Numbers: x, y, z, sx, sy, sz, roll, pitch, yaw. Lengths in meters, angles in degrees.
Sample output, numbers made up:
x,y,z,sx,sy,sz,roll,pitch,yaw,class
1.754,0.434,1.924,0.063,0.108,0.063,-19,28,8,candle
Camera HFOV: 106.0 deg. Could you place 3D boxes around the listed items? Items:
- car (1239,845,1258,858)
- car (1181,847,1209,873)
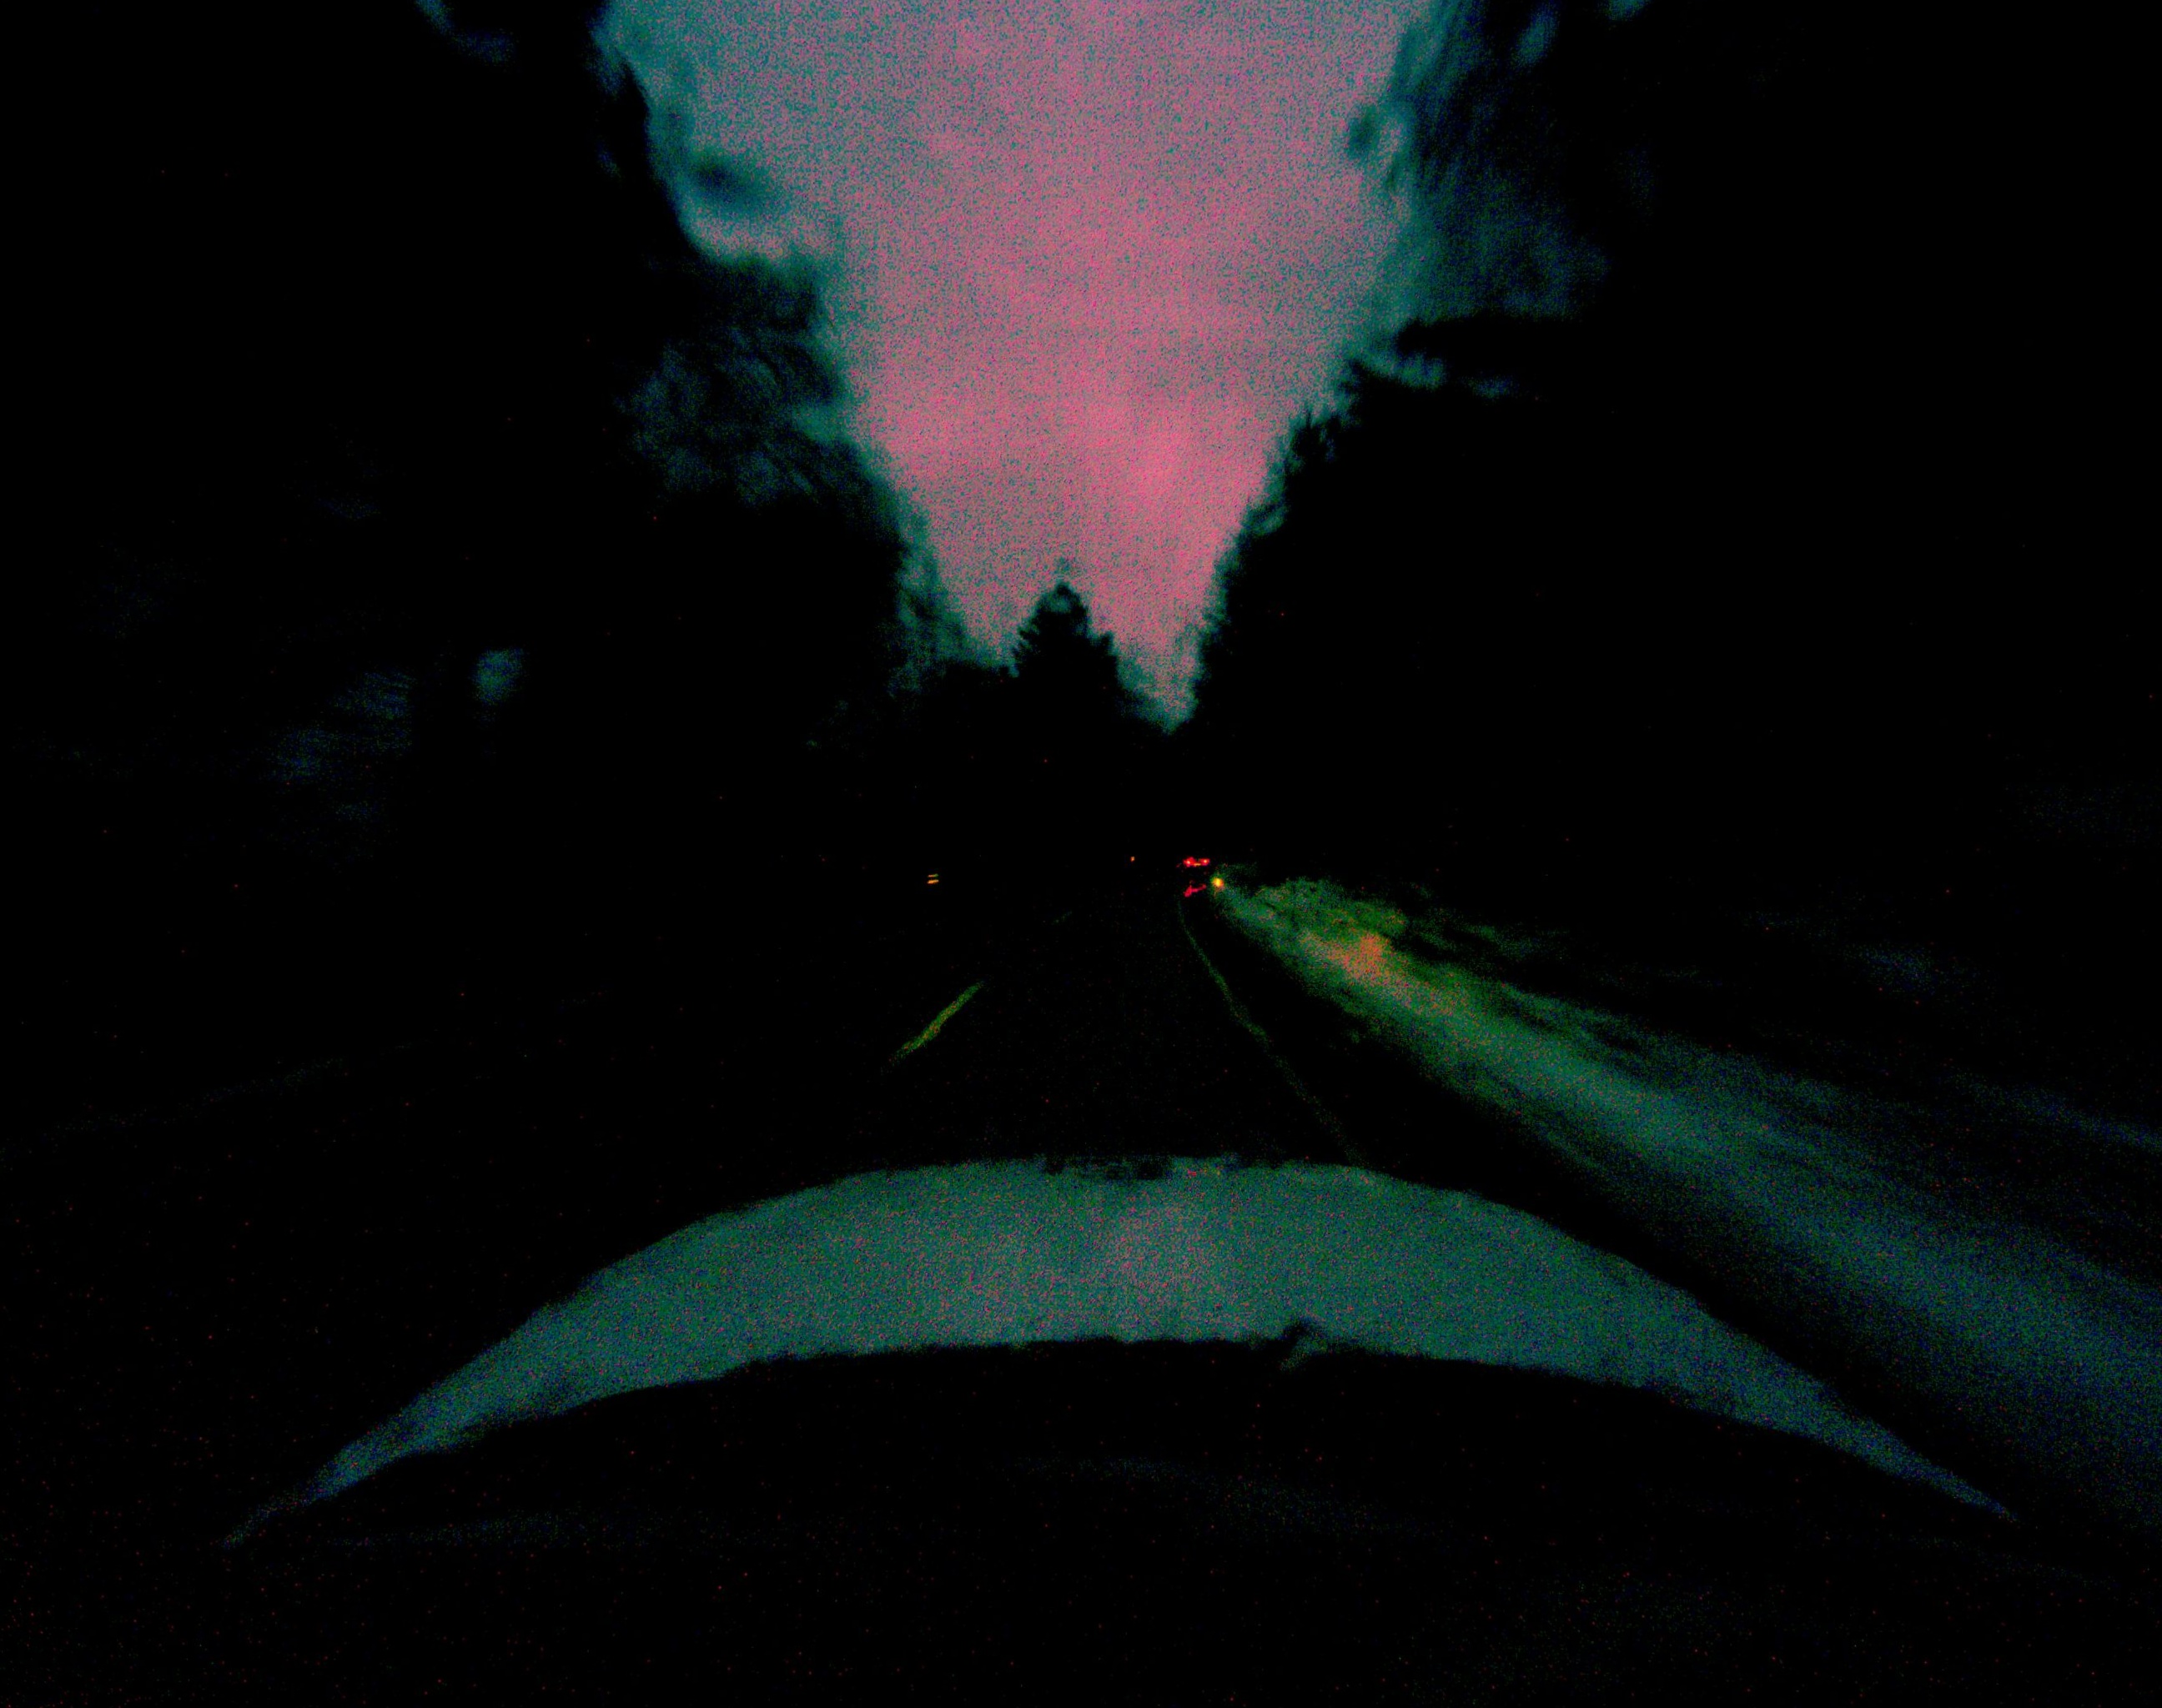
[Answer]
x,y,z,sx,sy,sz,roll,pitch,yaw,class
19.306,-0.314,93.995,1.981,1.310,4.012,-4,0,10,car
8.847,0.429,62.882,1.982,1.872,4.010,-4,0,9,car
